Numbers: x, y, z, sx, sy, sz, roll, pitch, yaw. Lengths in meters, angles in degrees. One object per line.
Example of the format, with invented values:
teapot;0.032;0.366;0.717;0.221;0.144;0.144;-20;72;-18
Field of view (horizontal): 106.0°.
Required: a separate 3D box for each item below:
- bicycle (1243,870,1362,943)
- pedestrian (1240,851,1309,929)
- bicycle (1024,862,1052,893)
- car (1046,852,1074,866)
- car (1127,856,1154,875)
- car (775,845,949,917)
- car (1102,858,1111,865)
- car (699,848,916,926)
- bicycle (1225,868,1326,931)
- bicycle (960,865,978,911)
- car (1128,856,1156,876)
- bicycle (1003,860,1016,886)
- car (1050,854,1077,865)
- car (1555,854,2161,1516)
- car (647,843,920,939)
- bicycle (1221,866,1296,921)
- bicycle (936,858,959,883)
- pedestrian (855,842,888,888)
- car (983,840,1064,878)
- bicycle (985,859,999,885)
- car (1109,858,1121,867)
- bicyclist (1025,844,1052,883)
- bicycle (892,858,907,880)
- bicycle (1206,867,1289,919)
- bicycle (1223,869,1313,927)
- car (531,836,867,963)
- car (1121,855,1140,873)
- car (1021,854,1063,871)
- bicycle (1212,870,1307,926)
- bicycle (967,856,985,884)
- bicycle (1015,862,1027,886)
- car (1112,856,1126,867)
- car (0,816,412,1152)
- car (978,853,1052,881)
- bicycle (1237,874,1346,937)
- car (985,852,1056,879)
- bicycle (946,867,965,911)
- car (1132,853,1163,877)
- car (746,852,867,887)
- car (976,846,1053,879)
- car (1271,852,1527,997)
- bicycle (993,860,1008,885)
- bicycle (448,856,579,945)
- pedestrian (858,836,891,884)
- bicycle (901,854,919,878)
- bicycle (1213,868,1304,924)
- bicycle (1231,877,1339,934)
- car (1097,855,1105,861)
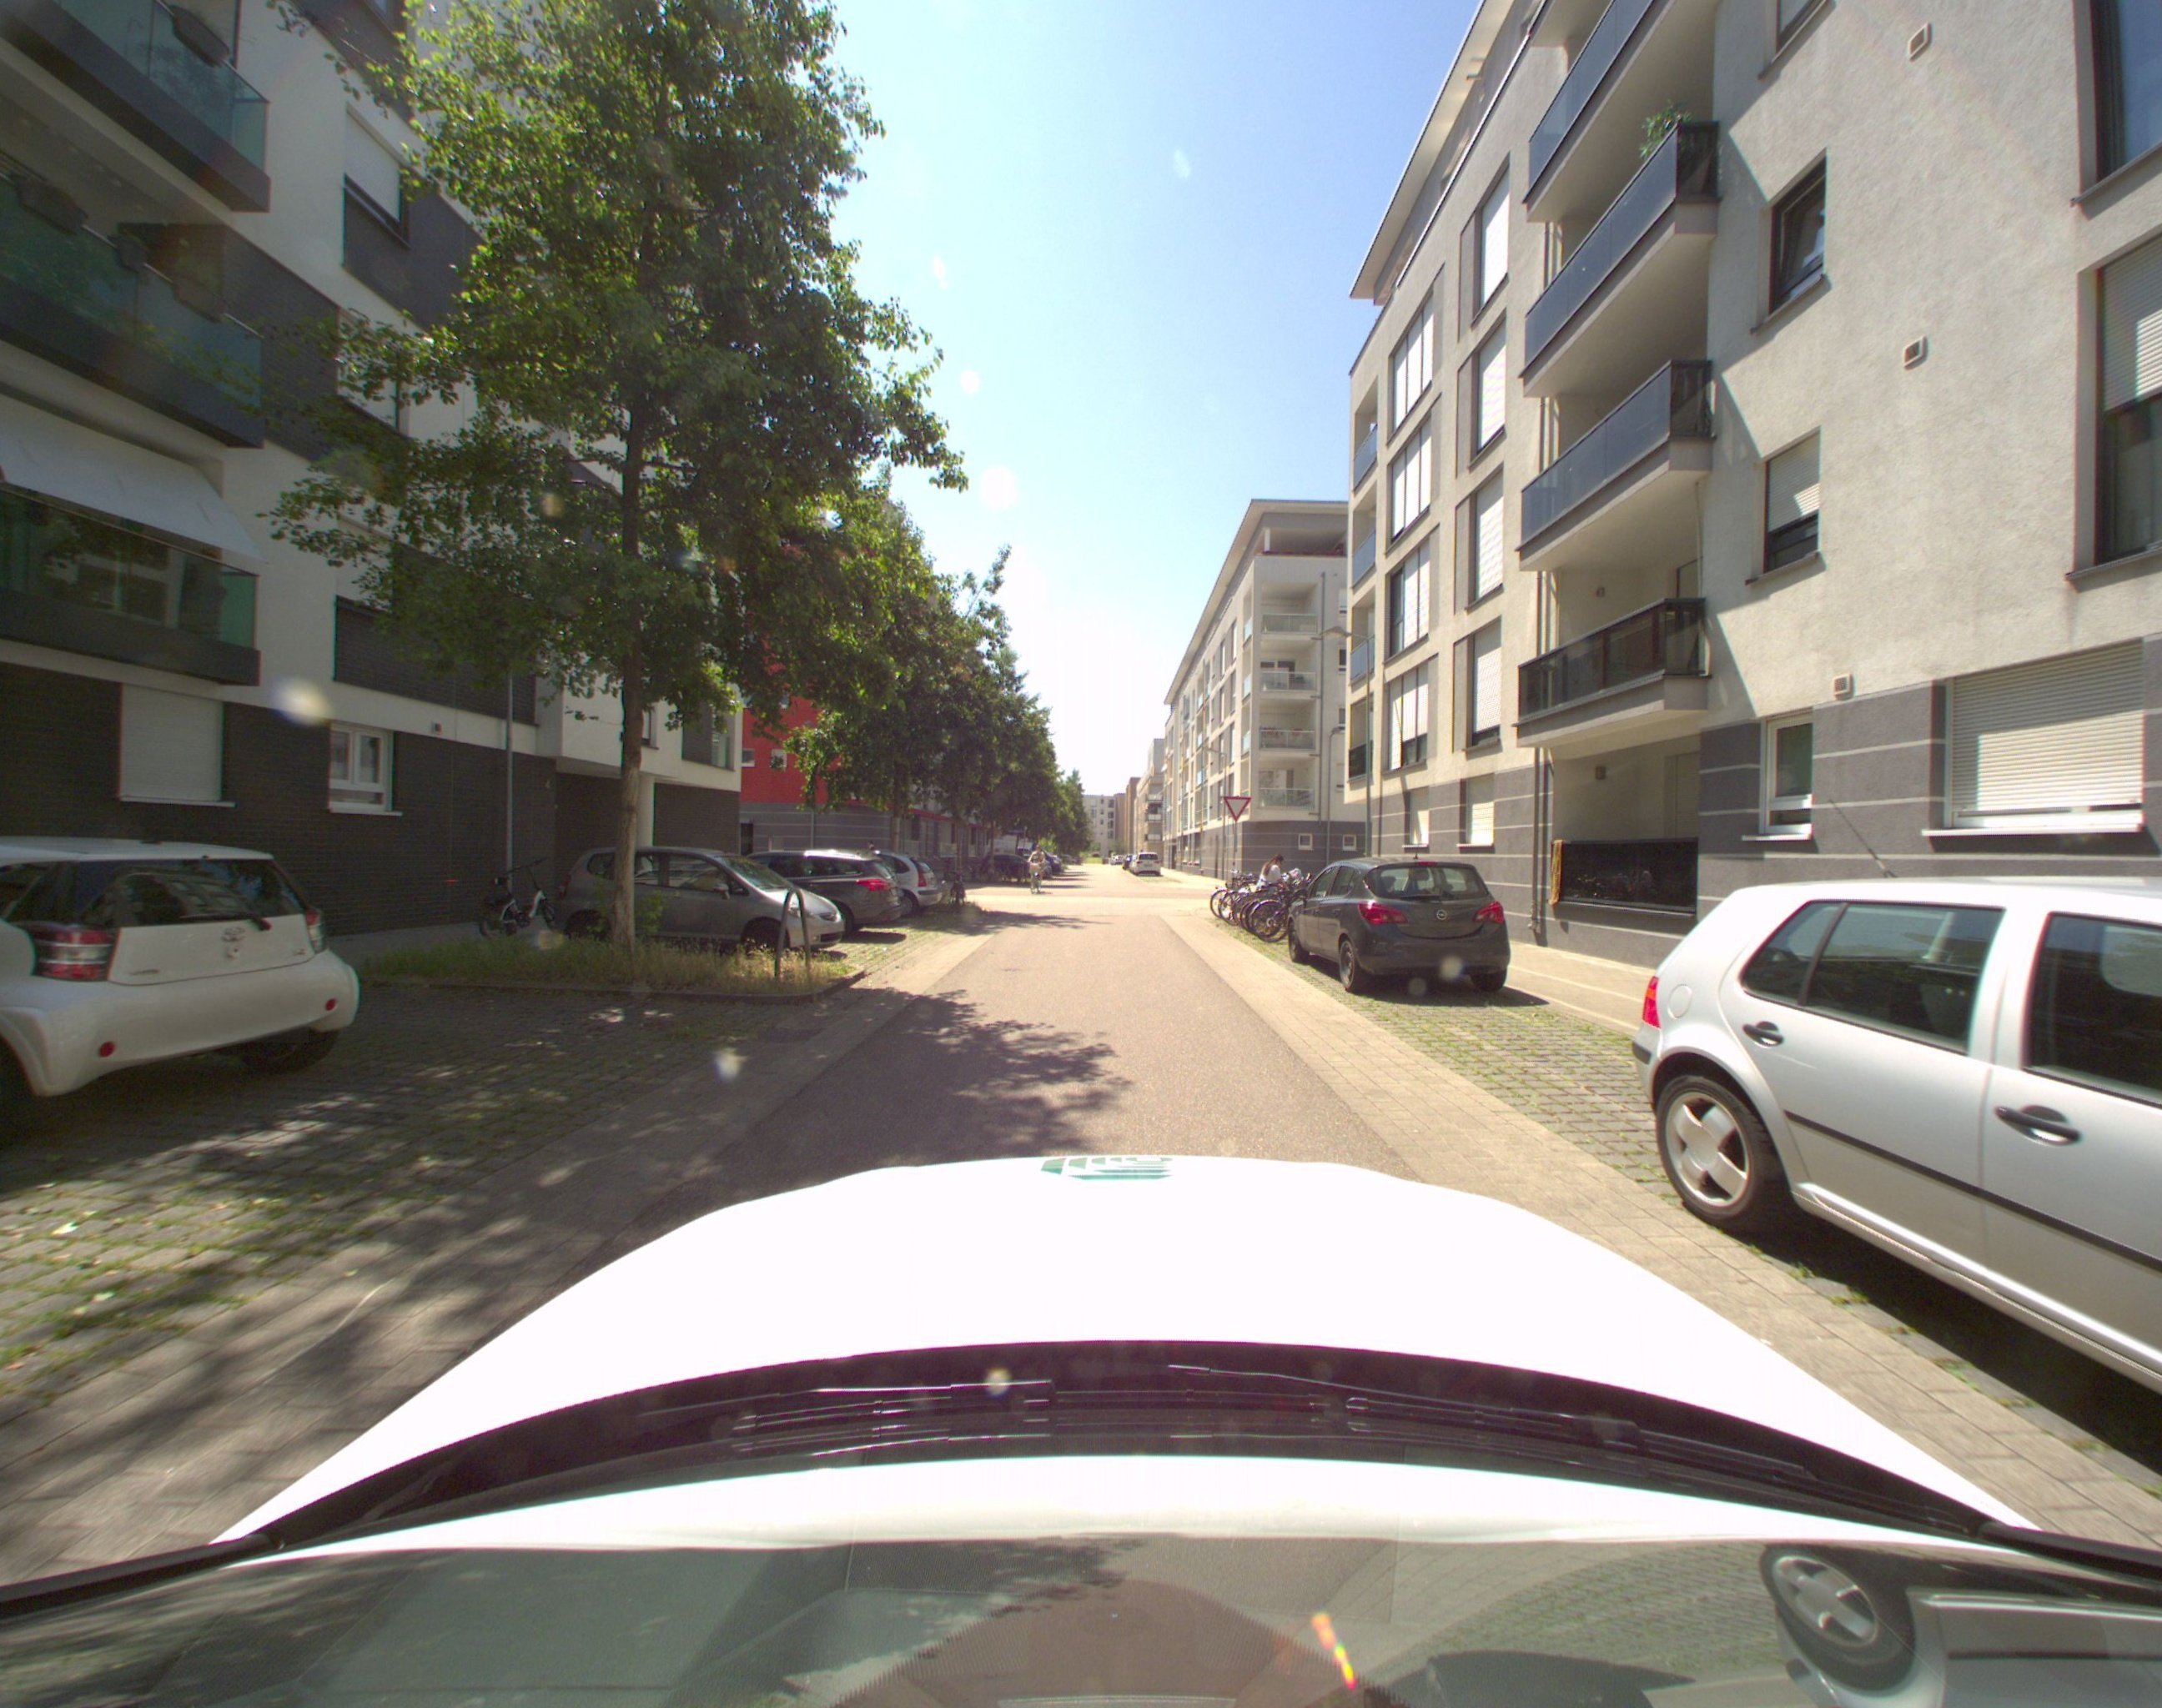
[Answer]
bicycle;3.812;0.887;14.118;1.865;1.218;0.715;0;-1;-3
pedestrian;3.869;0.706;16.349;1.178;1.515;0.686;0;0;-9
bicycle;-1.595;0.868;30.670;0.895;1.129;2.040;1;0;0
car;-3.162;0.791;122.280;3.965;2.014;2.004;1;0;7
car;4.964;0.928;68.446;1.987;1.524;3.999;0;0;0
car;-5.209;0.632;19.696;3.617;1.520;1.832;2;0;1
car;5.864;1.794;189.135;1.985;1.519;4.003;1;0;3
car;-5.742;0.669;17.427;3.970;1.555;1.801;0;0;3
bicycle;3.864;0.898;16.220;1.922;1.218;0.459;0;-1;-8
bicycle;-3.059;0.899;22.191;0.371;1.180;1.814;0;0;-11
car;4.743;0.911;63.618;1.986;1.524;4.002;0;0;2
bicycle;-3.584;0.943;40.685;0.569;1.174;1.765;4;1;-6
car;-2.681;0.781;125.032;3.965;1.602;2.004;1;0;7
car;3.396;0.759;2.156;1.827;1.505;4.351;-1;0;1
car;-5.218;0.655;14.776;4.170;1.486;1.957;2;-1;-3
bicycle;3.996;0.887;18.456;1.546;1.218;0.707;0;-1;-1
bicycle;-6.643;0.802;40.603;0.687;1.170;2.224;3;1;2
pedestrian;-7.910;0.414;30.753;0.996;1.690;0.832;1;0;1
car;-4.431;0.388;63.442;6.003;2.816;2.605;0;0;1
bicycle;-4.473;0.889;40.954;0.517;1.204;1.752;2;1;-1
car;6.380;1.586;153.808;1.987;1.717;3.999;1;0;0
bicyclist;-1.594;0.350;30.768;0.950;1.459;0.800;1;0;0
bicycle;-9.360;0.746;42.006;0.607;1.107;2.099;1;0;-9
bicycle;3.903;0.899;19.167;1.851;1.193;0.688;0;-1;4
bicycle;3.864;0.883;16.804;1.838;1.148;0.458;0;-1;-18
car;-5.376;0.614;11.882;3.924;1.553;1.872;2;0;0
car;4.784;0.942;78.030;1.749;1.552;4.005;2;0;4
car;-3.833;0.867;80.639;3.970;1.618;2.002;1;0;3
bicycle;3.739;0.910;17.171;1.911;1.133;0.611;0;-1;10
bicycle;-5.240;0.770;40.755;0.591;1.331;1.813;0;1;2
bicycle;-2.991;1.006;40.897;0.464;1.141;1.925;1;0;-1
car;5.938;1.090;126.582;1.987;1.675;3.999;1;0;0
car;-6.169;0.566;4.726;2.923;1.500;1.848;3;0;-1
car;-4.078;0.810;50.815;4.367;1.515;2.075;3;0;1
bicycle;3.818;0.922;14.864;1.782;1.104;0.746;0;-1;-3
car;-3.941;0.717;53.540;4.367;1.542;1.878;3;0;1
bicycle;-3.420;0.923;22.166;0.434;1.128;1.971;0;0;-11
car;4.697;0.779;57.917;1.990;1.657;4.117;0;0;2
car;-11.833;0.644;35.332;4.560;1.383;1.937;1;1;-2
car;-4.680;0.575;58.010;5.127;2.119;2.312;2;0;1
car;3.755;0.724;10.473;1.732;1.485;4.230;0;0;1
bicycle;-4.016;0.906;40.696;0.432;1.204;1.700;2;1;2
bicycle;-8.229;0.634;11.908;0.564;1.190;1.776;1;0;4
pedestrian;-8.797;0.268;34.714;1.004;2.014;1.130;0;0;4
bicycle;-9.381;0.649;44.635;0.549;1.240;1.925;0;0;0
bicycle;3.851;0.898;17.775;1.911;1.179;0.640;0;-1;10
bicycle;3.883;0.971;15.557;1.919;1.035;0.559;0;-1;-3
car;5.203;1.108;210.024;1.987;1.519;3.999;1;0;0
